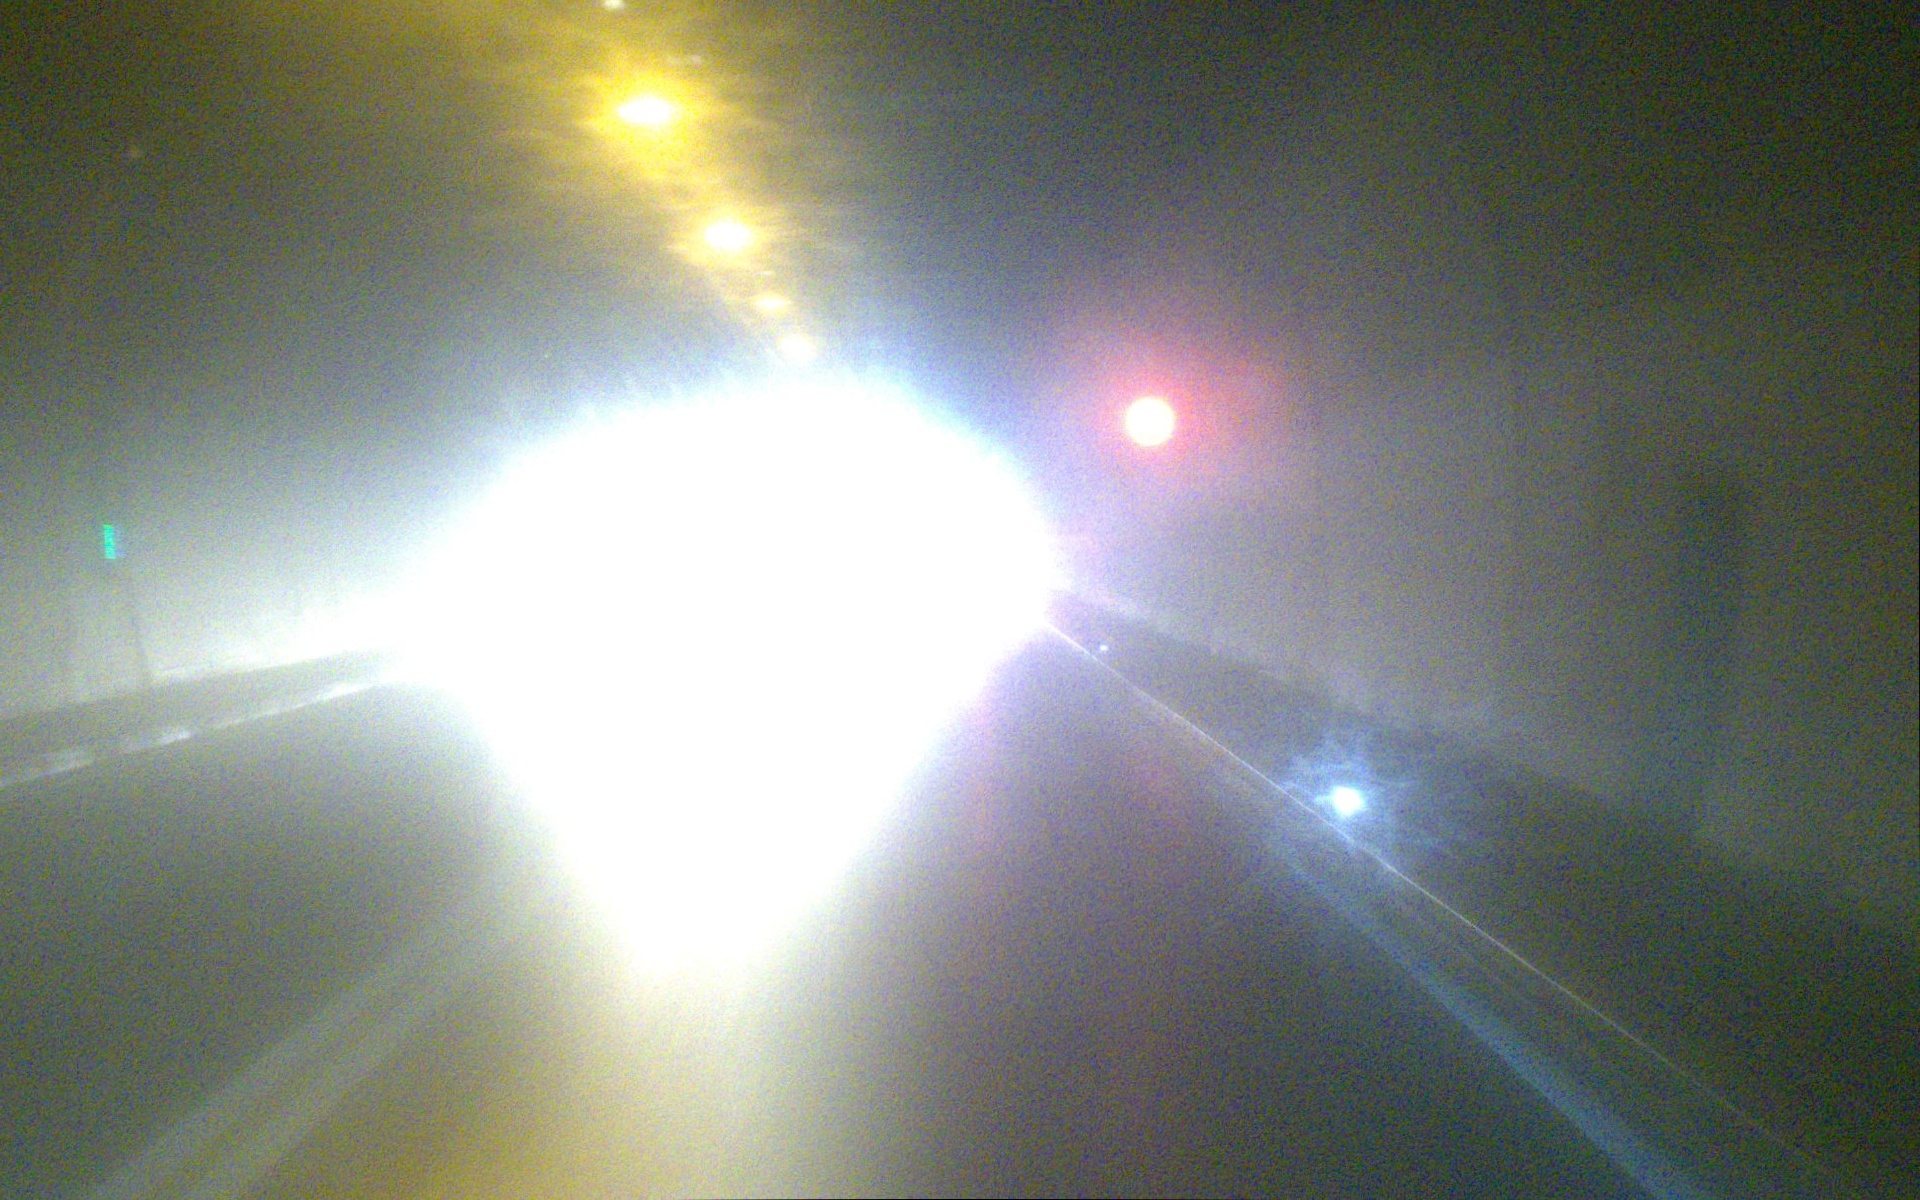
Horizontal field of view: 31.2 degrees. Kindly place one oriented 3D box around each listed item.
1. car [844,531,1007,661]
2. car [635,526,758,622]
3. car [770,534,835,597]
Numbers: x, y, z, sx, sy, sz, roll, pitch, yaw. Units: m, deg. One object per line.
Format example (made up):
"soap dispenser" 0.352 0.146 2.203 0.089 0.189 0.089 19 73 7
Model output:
"car" -0.484 -0.081 46.464 2.089 1.656 4.000 -1 1 -1
"car" -4.199 -0.445 55.188 1.710 1.457 3.575 -1 1 -1
"car" -4.551 -1.022 99.802 1.669 1.641 3.907 -3 2 0
